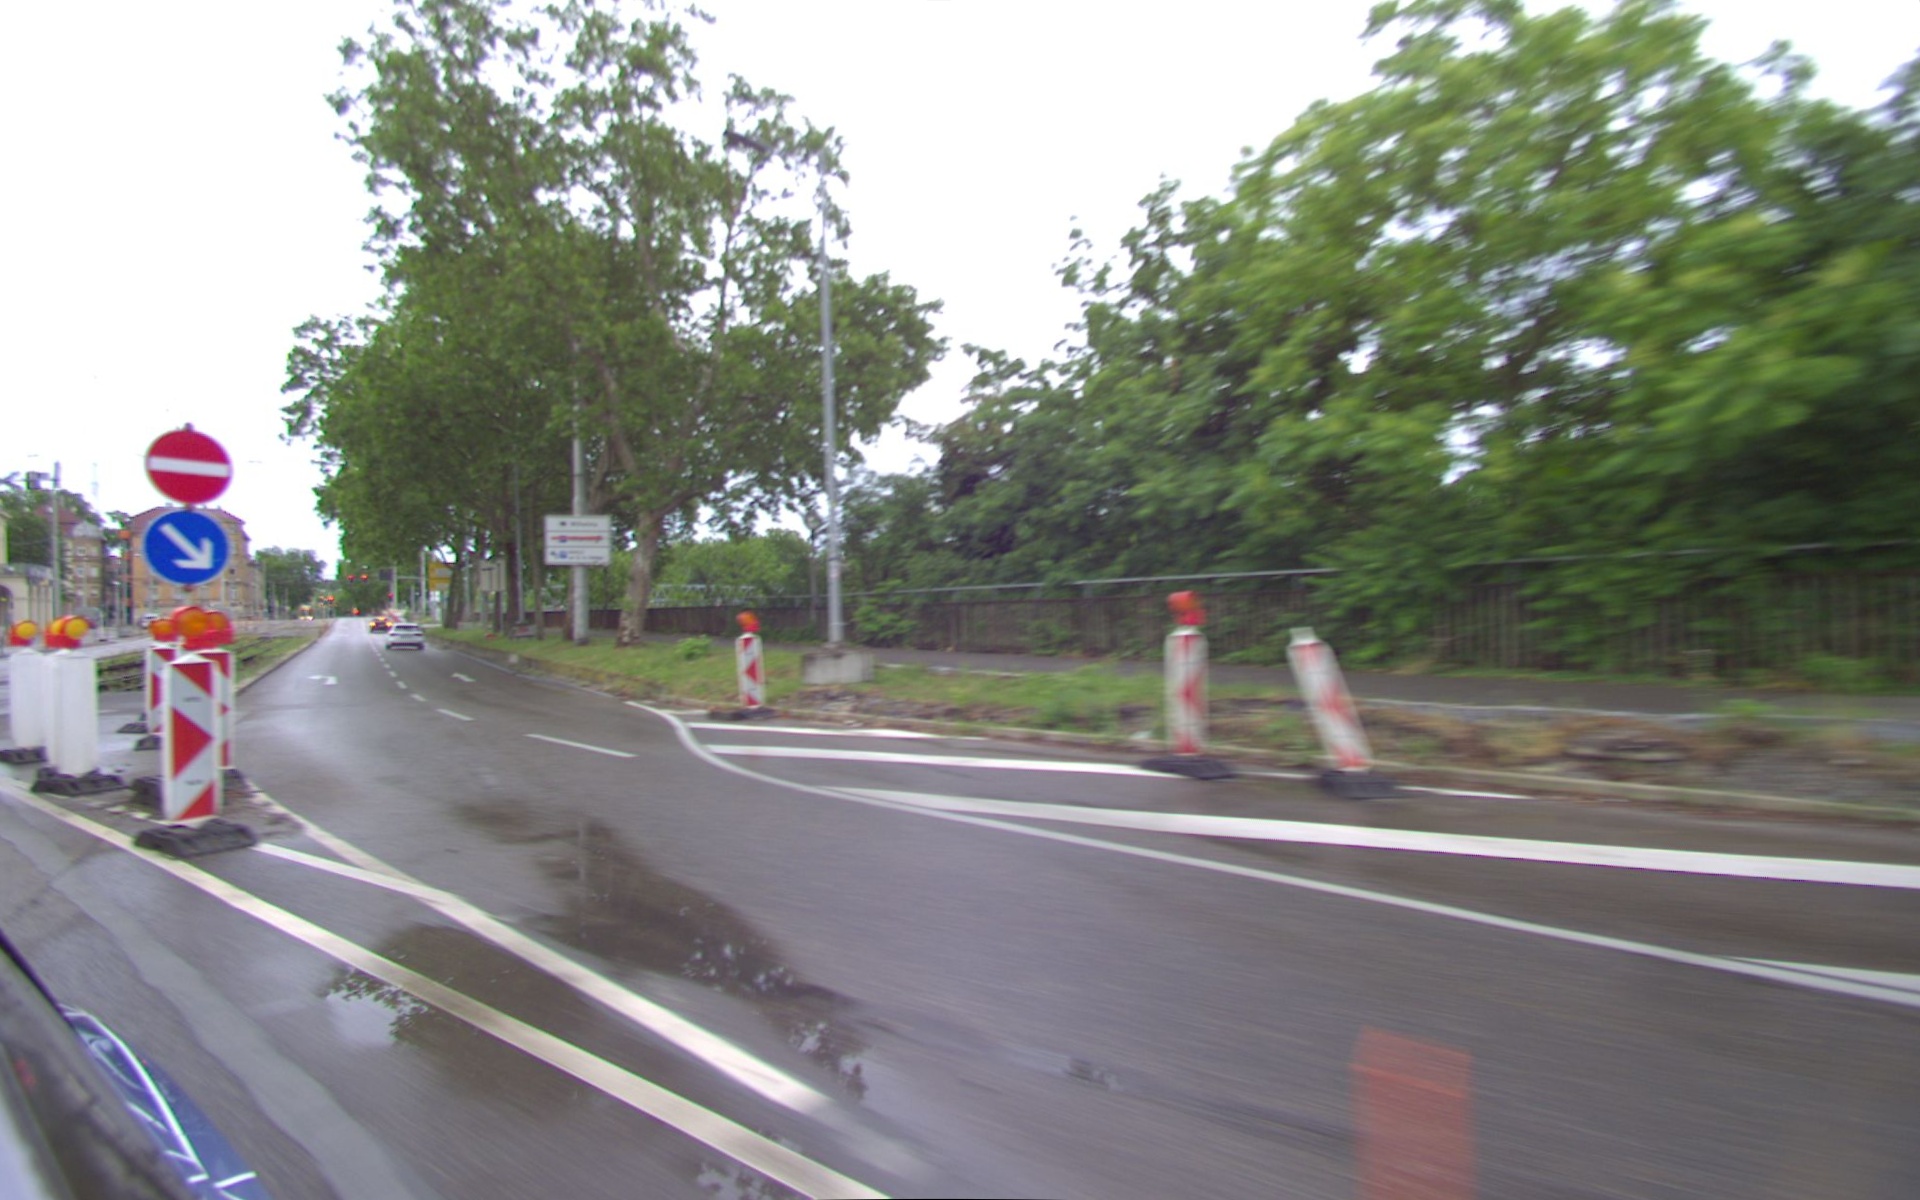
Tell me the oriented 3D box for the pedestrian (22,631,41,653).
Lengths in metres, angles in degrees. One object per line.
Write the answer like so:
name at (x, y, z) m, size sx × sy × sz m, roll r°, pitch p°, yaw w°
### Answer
pedestrian at (-70.264, 3.180, 76.583) m, size 0.852 × 1.603 × 0.669 m, roll 0°, pitch -1°, yaw -6°

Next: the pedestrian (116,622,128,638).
pedestrian at (-98.204, 3.504, 118.605) m, size 0.692 × 1.820 × 0.777 m, roll -2°, pitch 1°, yaw 18°

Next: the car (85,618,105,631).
car at (-116.359, 3.263, 136.113) m, size 1.802 × 1.594 × 4.008 m, roll -1°, pitch 0°, yaw -38°

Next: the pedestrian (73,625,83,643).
pedestrian at (-87.493, 3.350, 100.388) m, size 0.586 × 1.749 × 0.841 m, roll -1°, pitch 0°, yaw -34°

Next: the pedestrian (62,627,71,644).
pedestrian at (-88.195, 3.461, 99.904) m, size 0.619 × 1.657 × 0.782 m, roll -1°, pitch 0°, yaw -39°

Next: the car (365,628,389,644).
car at (-54.366, 3.361, 94.281) m, size 1.722 × 1.441 × 4.573 m, roll 0°, pitch -1°, yaw -33°

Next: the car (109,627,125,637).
car at (-140.815, 5.379, 169.058) m, size 1.802 × 1.594 × 4.008 m, roll -1°, pitch 0°, yaw -38°

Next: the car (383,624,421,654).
car at (-30.269, 2.083, 54.861) m, size 1.685 × 1.510 × 4.734 m, roll 1°, pitch -1°, yaw -30°

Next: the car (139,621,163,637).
car at (-92.814, 3.302, 116.130) m, size 1.815 × 1.651 × 4.152 m, roll -5°, pitch 3°, yaw -36°
